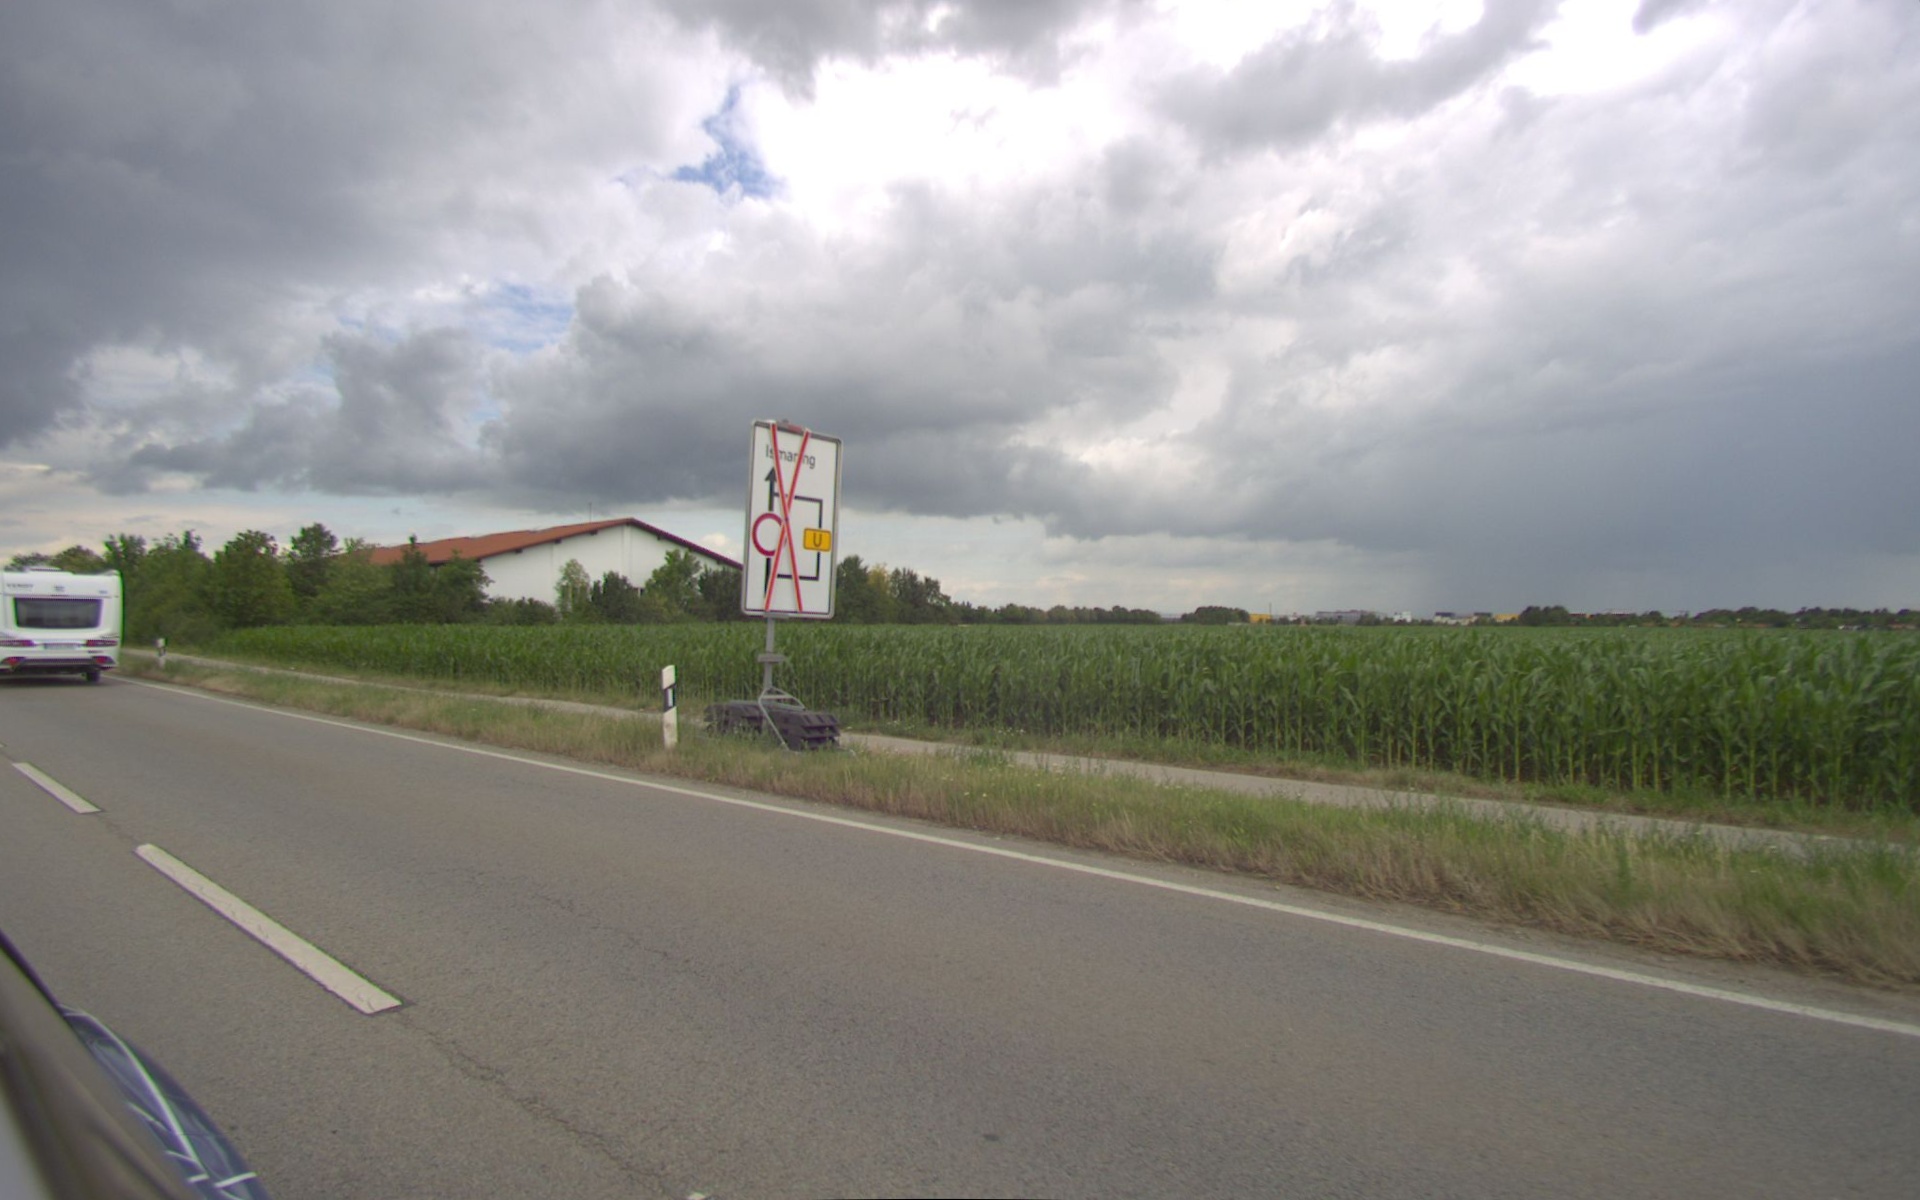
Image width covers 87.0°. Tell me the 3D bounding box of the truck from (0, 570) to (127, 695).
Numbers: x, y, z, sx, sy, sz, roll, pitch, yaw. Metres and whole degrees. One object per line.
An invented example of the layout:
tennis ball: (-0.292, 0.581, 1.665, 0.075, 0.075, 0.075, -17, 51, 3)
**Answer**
truck: (-24.205, 0.788, 26.264, 11.429, 2.679, 2.388, -1, -2, 43)
